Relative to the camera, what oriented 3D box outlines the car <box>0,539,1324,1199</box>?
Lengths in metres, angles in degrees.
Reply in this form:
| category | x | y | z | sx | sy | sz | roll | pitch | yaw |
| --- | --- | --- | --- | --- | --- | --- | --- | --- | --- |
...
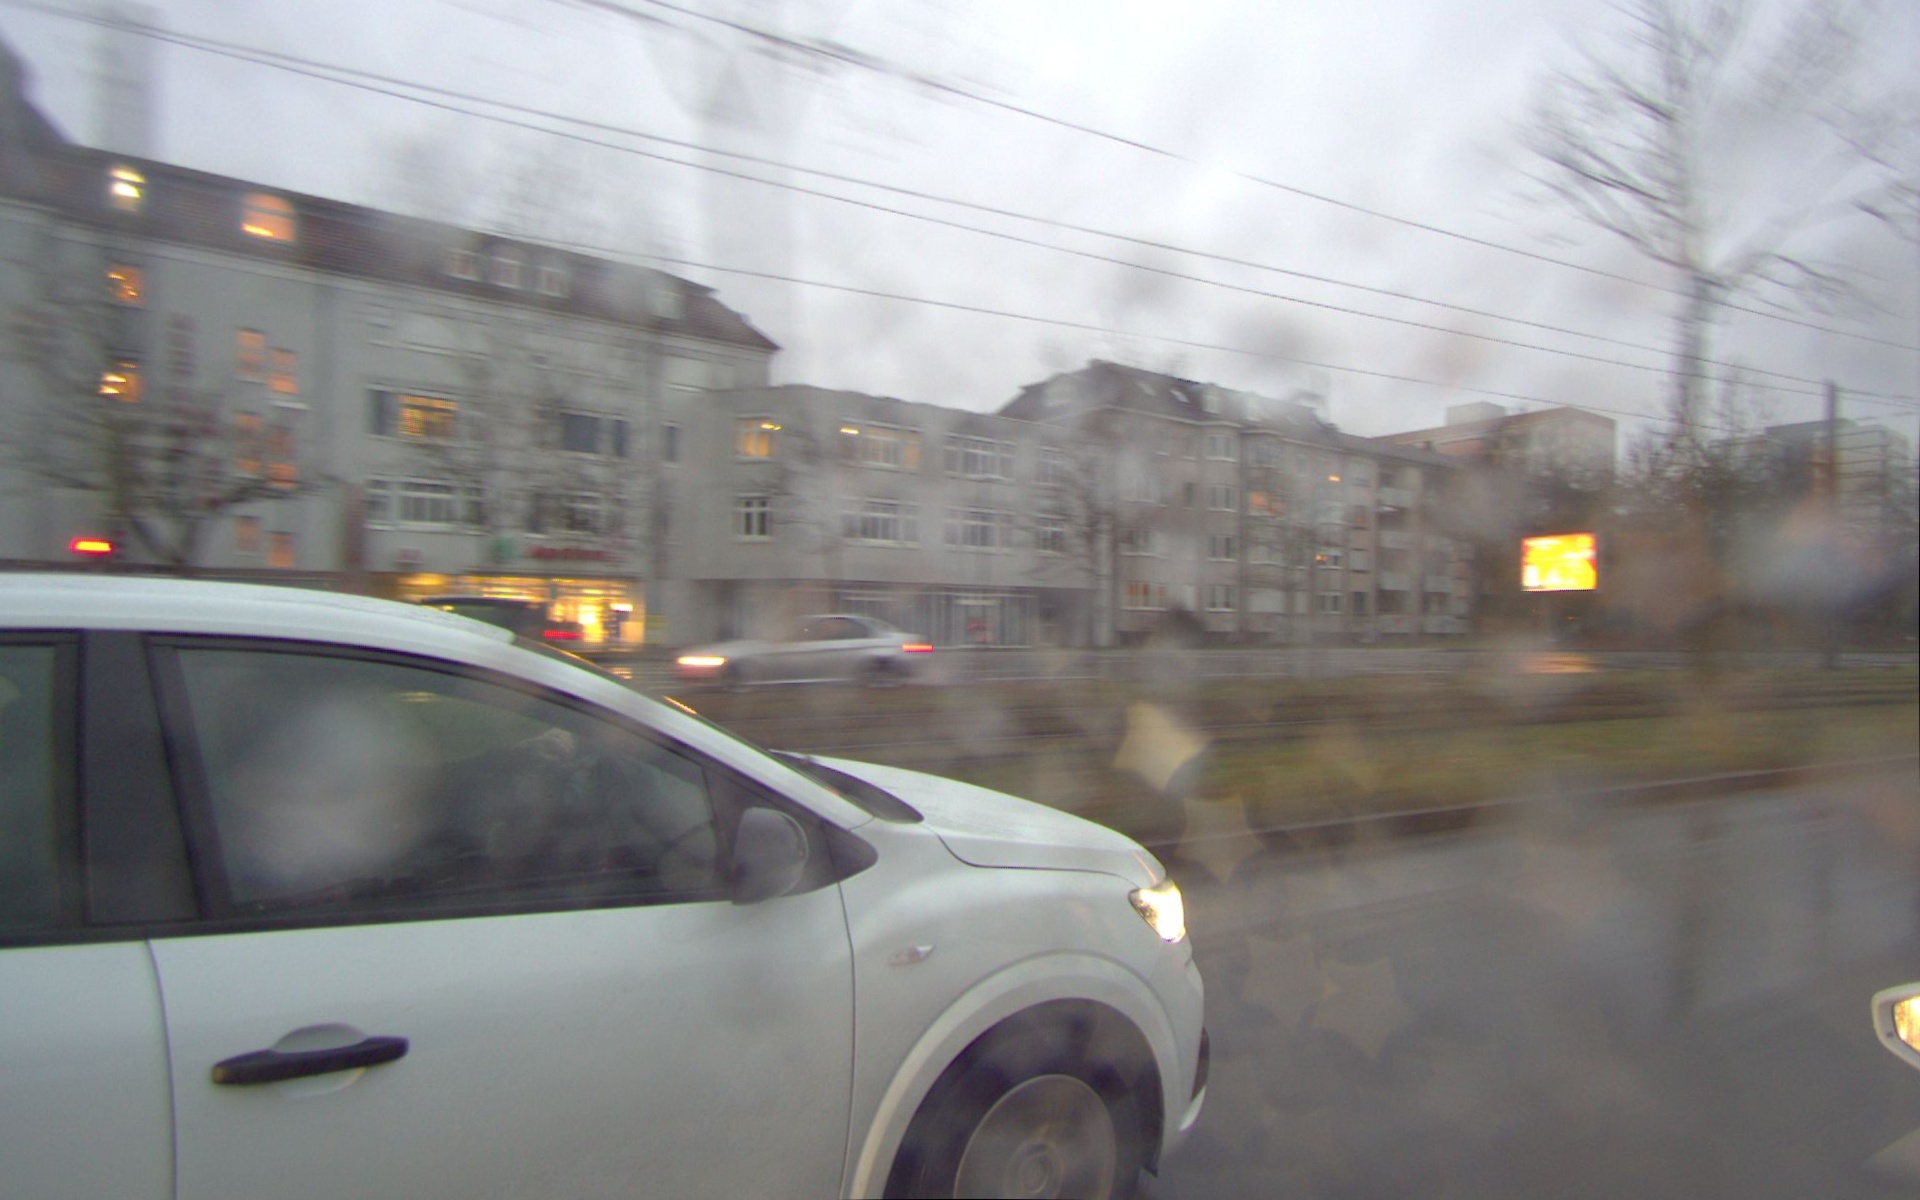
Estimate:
| category | x | y | z | sx | sy | sz | roll | pitch | yaw |
| --- | --- | --- | --- | --- | --- | --- | --- | --- | --- |
| car | -1.242 | 0.679 | 2.131 | 3.956 | 1.485 | 1.699 | 3 | -1 | -32 |

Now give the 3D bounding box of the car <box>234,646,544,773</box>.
| category | x | y | z | sx | sy | sz | roll | pitch | yaw |
| --- | --- | --- | --- | --- | --- | --- | --- | --- | --- |
| car | -8.803 | 1.604 | 15.615 | 3.964 | 1.628 | 1.791 | 3 | -1 | -37 |

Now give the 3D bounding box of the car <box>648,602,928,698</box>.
| category | x | y | z | sx | sy | sz | roll | pitch | yaw |
| --- | --- | --- | --- | --- | --- | --- | --- | --- | --- |
| car | -3.049 | 0.912 | 18.479 | 4.889 | 1.549 | 1.576 | 3 | -1 | -37 |
